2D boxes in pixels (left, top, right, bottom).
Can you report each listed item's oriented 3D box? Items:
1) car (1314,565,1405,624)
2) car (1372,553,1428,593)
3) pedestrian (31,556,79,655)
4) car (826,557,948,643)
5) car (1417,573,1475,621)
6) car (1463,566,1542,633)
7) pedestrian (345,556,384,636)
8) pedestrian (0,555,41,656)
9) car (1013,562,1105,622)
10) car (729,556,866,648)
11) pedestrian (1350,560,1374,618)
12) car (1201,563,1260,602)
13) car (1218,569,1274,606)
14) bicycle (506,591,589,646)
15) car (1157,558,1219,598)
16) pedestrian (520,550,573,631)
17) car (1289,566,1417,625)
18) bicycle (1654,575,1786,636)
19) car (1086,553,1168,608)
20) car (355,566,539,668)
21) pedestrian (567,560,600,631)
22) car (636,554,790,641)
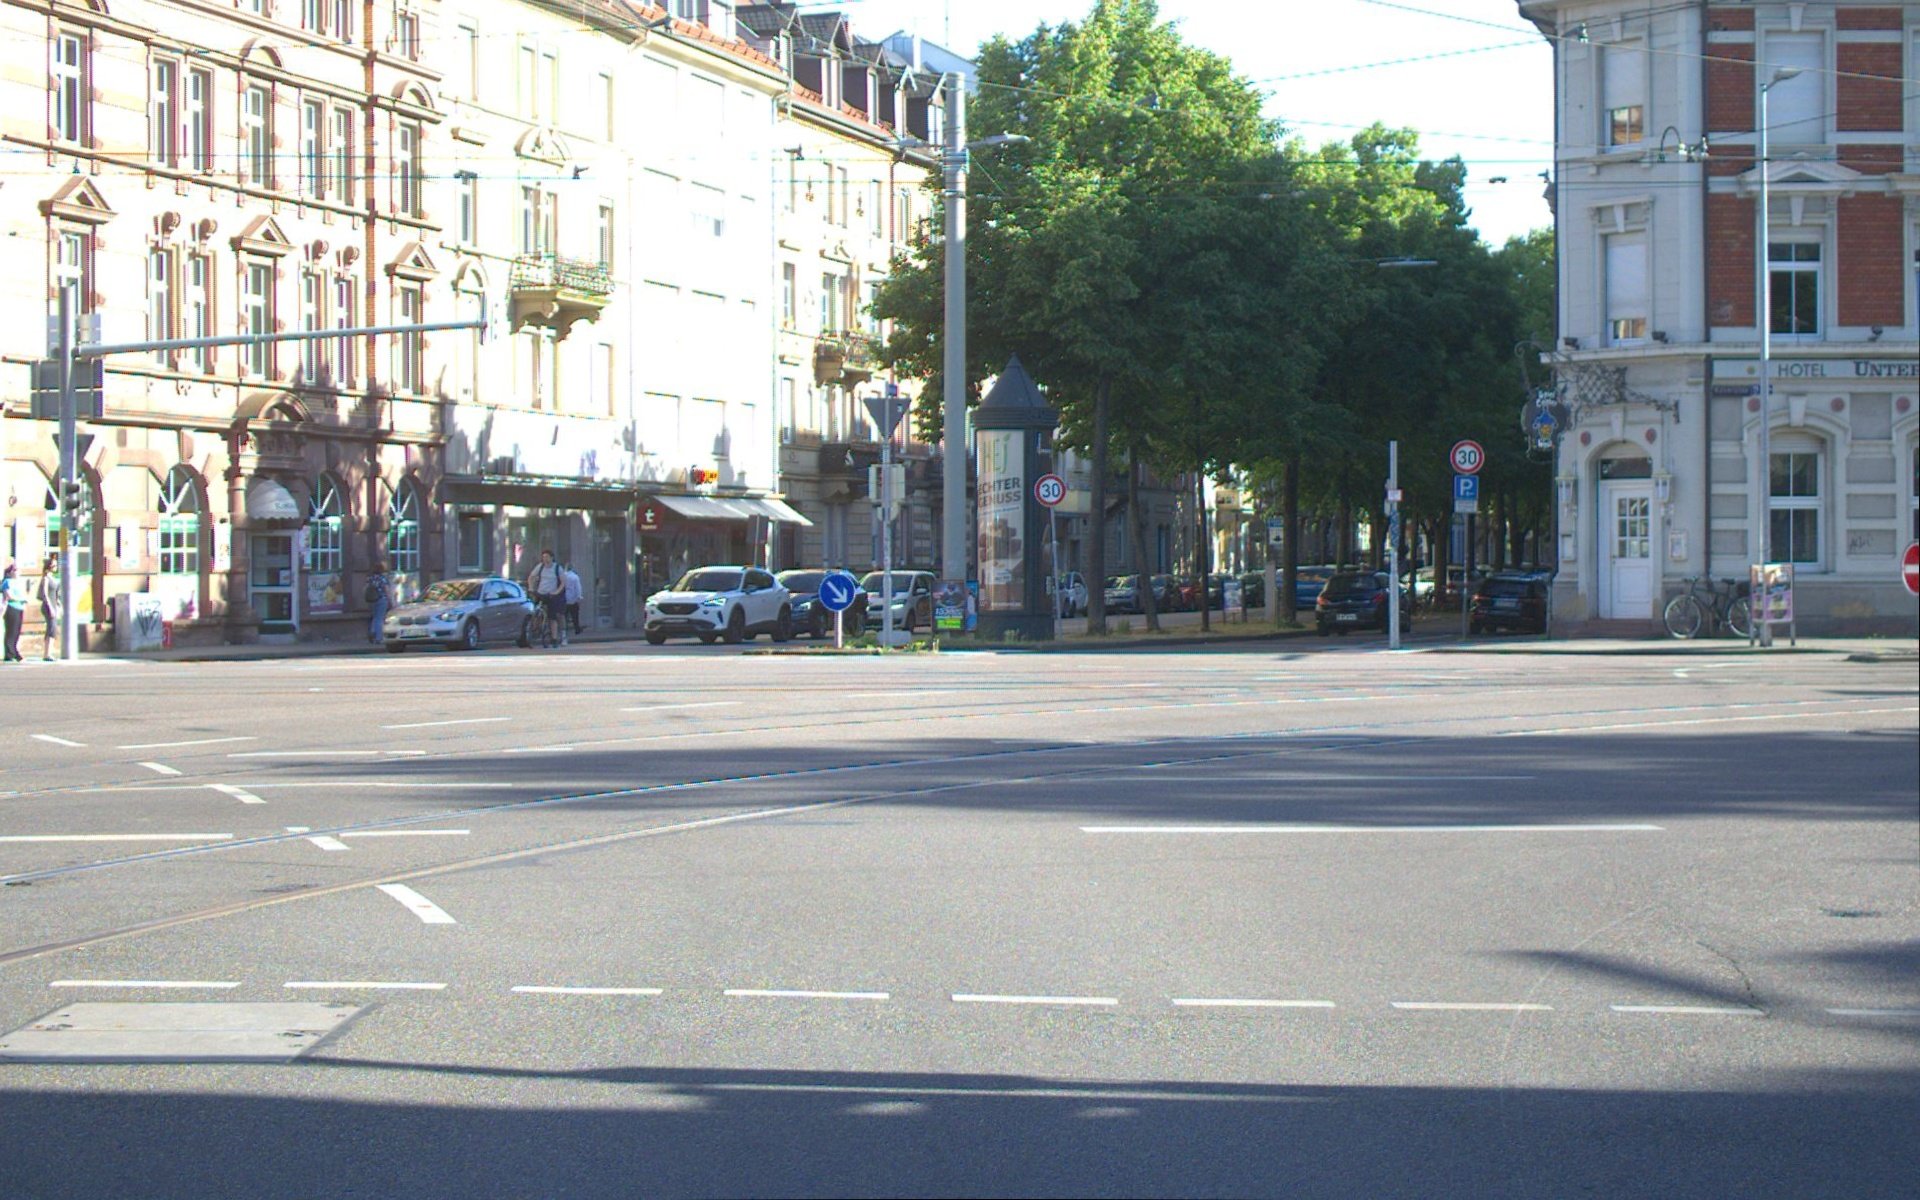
[{"bbox_3d":[9.504,-0.145,81.567,1.755,1.357,3.854,1,1,12],"label":"car"},{"bbox_3d":[17.238,-1.066,134.612,1.560,1.508,3.653,1,1,17],"label":"car"},{"bbox_3d":[-15.065,0.089,57.215,0.633,1.628,0.701,1,0,-4],"label":"pedestrian"},{"bbox_3d":[-1.661,-0.014,79.673,1.994,1.897,3.998,1,1,11],"label":"car"},{"bbox_3d":[16.082,-0.120,113.686,1.772,1.525,3.998,1,1,10],"label":"car"},{"bbox_3d":[13.059,-0.024,82.606,1.692,1.559,3.839,1,1,11],"label":"car"},{"bbox_3d":[-12.156,-0.081,70.188,0.544,1.626,0.706,1,0,13],"label":"pedestrian"},{"bbox_3d":[-15.341,0.079,55.918,0.633,1.628,0.701,1,0,-4],"label":"pedestrian"},{"bbox_3d":[3.271,-0.276,112.716,1.995,1.897,3.997,1,1,17],"label":"car"},{"bbox_3d":[-3.455,0.020,73.805,1.994,1.897,3.998,1,1,11],"label":"car"},{"bbox_3d":[12.375,-0.337,105.822,0.640,1.790,0.490,1,0,12],"label":"pedestrian"},{"bbox_3d":[10.707,-0.680,136.085,1.560,1.508,3.653,1,1,17],"label":"car"},{"bbox_3d":[11.870,-0.517,142.422,1.560,1.508,3.653,1,1,17],"label":"car"},{"bbox_3d":[-7.824,0.341,65.300,0.763,1.004,2.395,1,1,13],"label":"bicycle"},{"bbox_3d":[8.776,-0.840,132.124,1.560,1.508,3.653,1,1,17],"label":"car"},{"bbox_3d":[-7.838,-0.186,65.221,0.821,1.507,0.598,1,0,15],"label":"pedestrian"},{"bbox_3d":[13.152,-0.162,114.987,3.990,1.897,1.998,1,0,16],"label":"car"},{"bbox_3d":[12.611,0.082,57.097,2.049,0.994,0.630,0,0,3],"label":"bicycle"},{"bbox_3d":[5.955,-0.680,122.359,1.995,1.897,3.997,1,1,17],"label":"car"},{"bbox_3d":[-9.988,0.302,67.194,1.995,1.897,3.997,1,1,17],"label":"car"},{"bbox_3d":[-8.710,-0.113,79.521,0.544,1.626,0.706,1,0,13],"label":"pedestrian"},{"bbox_3d":[-4.792,-0.065,67.293,1.994,1.612,3.998,1,1,11],"label":"car"}]
